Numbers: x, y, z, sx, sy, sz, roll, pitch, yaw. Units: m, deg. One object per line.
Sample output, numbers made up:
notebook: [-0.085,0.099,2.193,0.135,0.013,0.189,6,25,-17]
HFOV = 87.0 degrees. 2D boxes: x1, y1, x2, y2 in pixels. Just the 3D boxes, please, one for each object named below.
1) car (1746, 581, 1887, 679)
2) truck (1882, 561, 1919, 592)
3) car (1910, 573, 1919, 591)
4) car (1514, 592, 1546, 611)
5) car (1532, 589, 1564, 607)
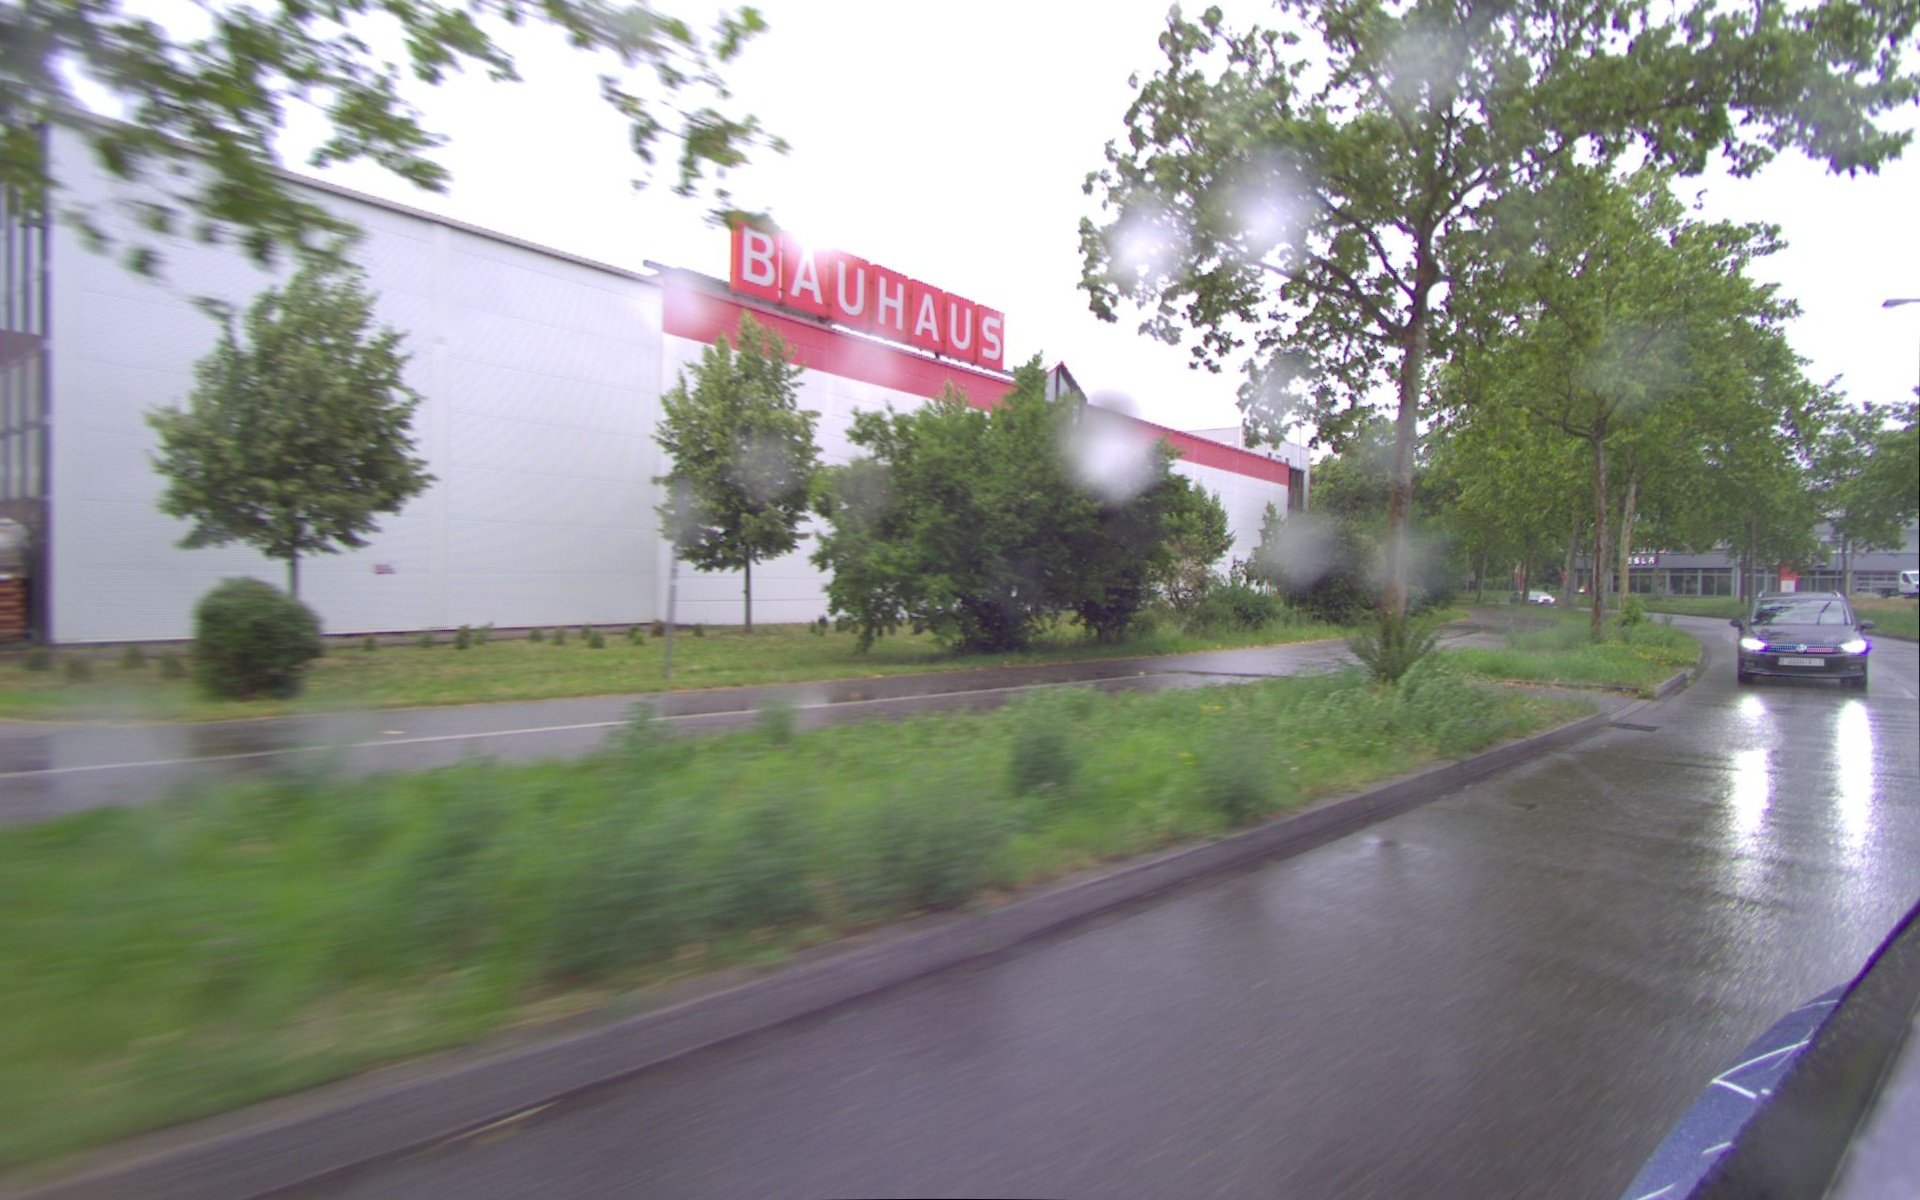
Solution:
car: [15.676,0.458,18.606,1.777,1.575,3.942,2,2,40]
truck: [74.761,-1.838,78.437,2.223,2.374,6.161,-2,-1,16]
car: [72.637,-1.414,74.481,3.484,1.343,1.759,-2,-1,16]
car: [50.270,0.091,89.286,1.763,1.575,3.974,1,1,20]
car: [54.757,-0.221,94.363,1.762,1.575,3.977,1,1,18]
